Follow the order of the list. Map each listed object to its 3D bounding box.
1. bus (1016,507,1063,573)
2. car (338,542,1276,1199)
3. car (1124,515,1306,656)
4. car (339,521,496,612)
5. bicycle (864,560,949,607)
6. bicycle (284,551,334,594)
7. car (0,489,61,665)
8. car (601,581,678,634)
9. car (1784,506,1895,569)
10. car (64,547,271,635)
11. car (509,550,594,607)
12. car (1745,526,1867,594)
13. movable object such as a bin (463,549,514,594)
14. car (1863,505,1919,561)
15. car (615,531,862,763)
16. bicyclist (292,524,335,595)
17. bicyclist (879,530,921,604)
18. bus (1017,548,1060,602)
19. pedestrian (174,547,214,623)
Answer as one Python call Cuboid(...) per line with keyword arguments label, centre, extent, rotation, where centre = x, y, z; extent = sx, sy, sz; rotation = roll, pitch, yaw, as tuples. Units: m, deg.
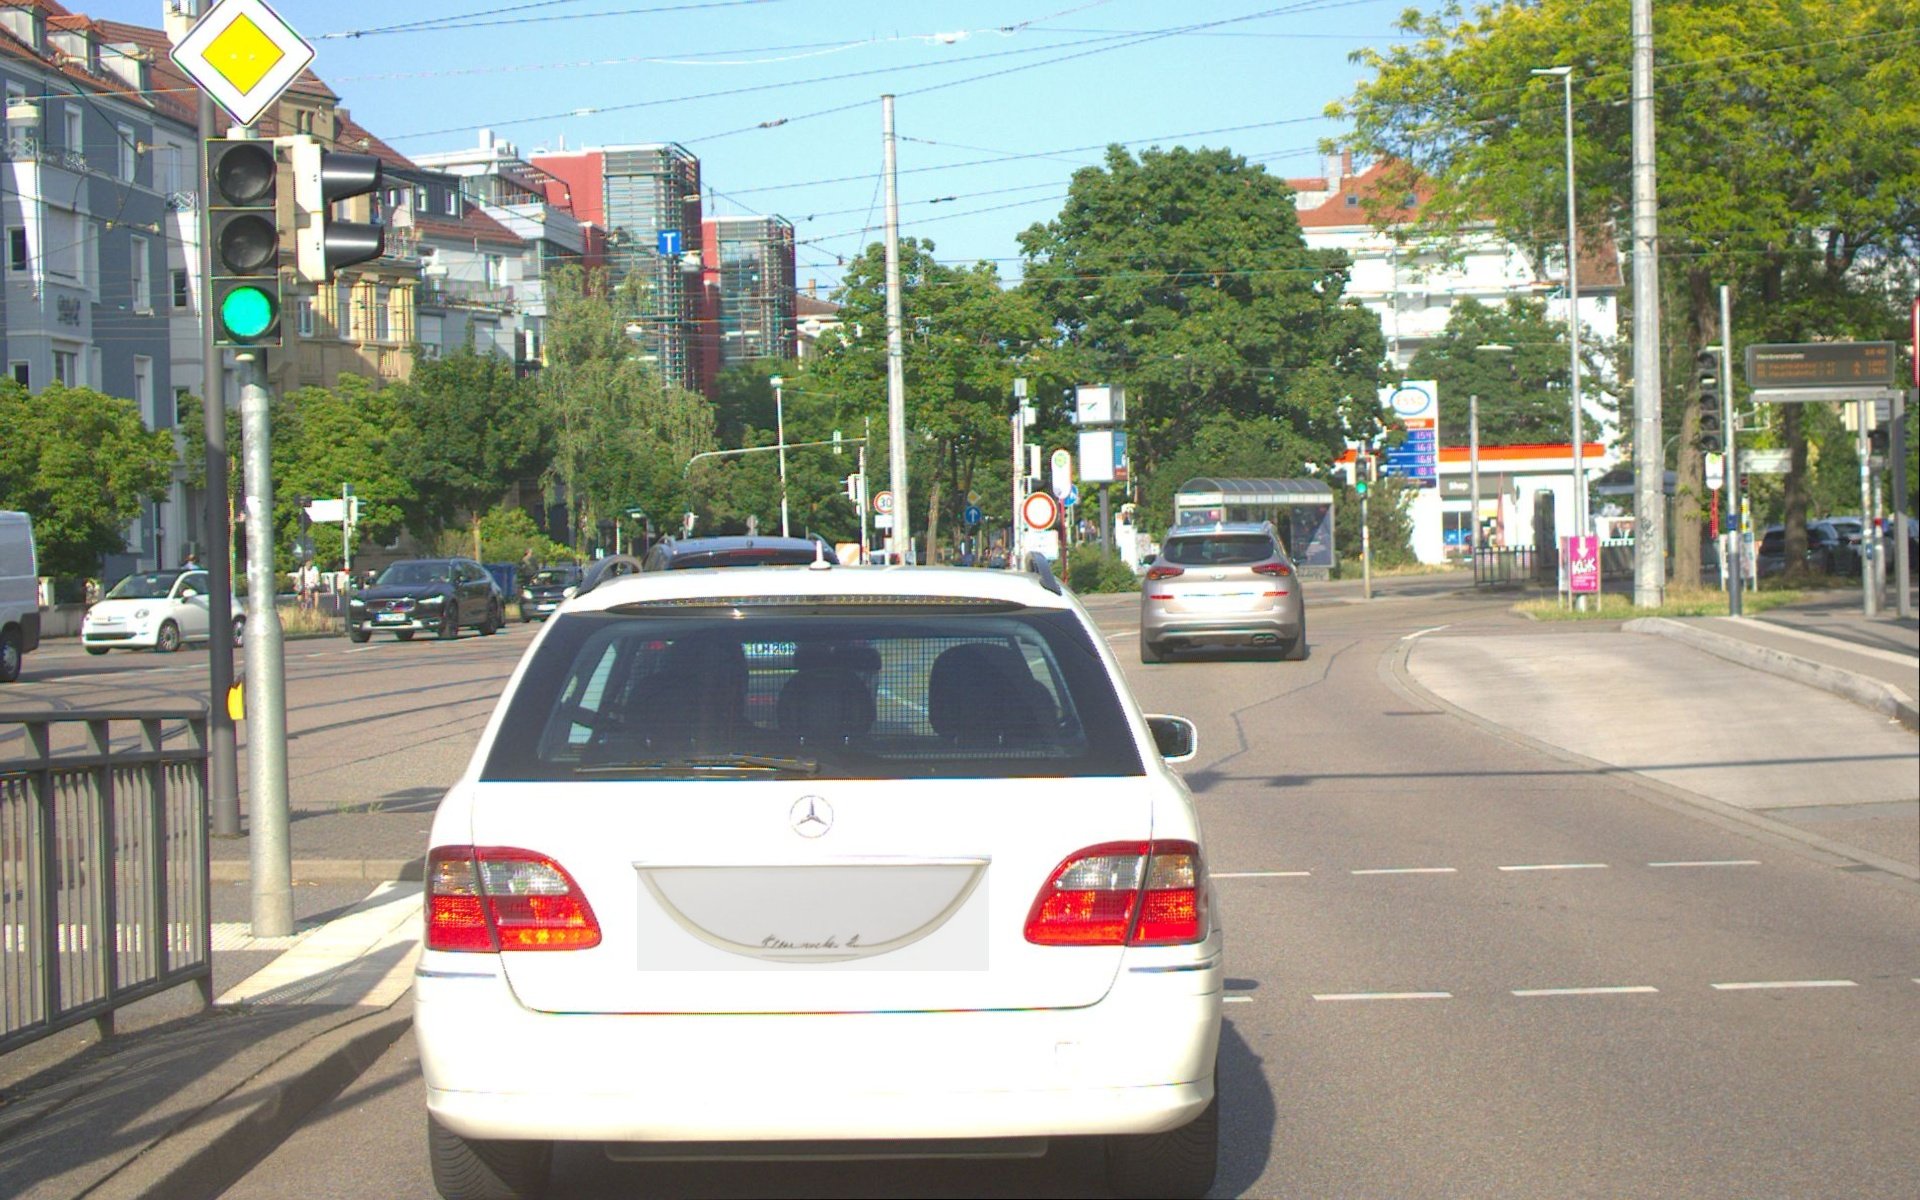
Cuboid(label="bus", centre=(3.152, -2.352, 136.323), extent=(1.798, 2.546, 4.000), rotation=(1, 0, 1))
Cuboid(label="car", centre=(-0.327, 0.610, 8.650), extent=(1.835, 1.496, 3.815), rotation=(0, 1, -1))
Cuboid(label="car", centre=(2.987, -0.194, 40.943), extent=(1.835, 1.595, 3.815), rotation=(0, 1, -1))
Cuboid(label="car", centre=(-10.074, -0.657, 64.205), extent=(1.767, 1.489, 4.744), rotation=(-1, 2, 5))
Cuboid(label="bicycle", centre=(-1.252, -0.395, 80.641), extent=(1.914, 0.991, 0.727), rotation=(-3, 1, 0))
Cuboid(label="bicycle", centre=(-15.471, -0.658, 81.739), extent=(0.769, 0.962, 2.034), rotation=(-2, 1, 1))
Cuboid(label="car", centre=(-13.422, -0.249, 43.083), extent=(2.178, 2.231, 5.251), rotation=(-1, 1, 9))
Cuboid(label="car", centre=(-9.567, 0.206, 102.917), extent=(1.689, 1.436, 4.000), rotation=(-2, 1, 3))
Cuboid(label="car", centre=(23.001, -1.650, 89.853), extent=(1.856, 1.510, 3.994), rotation=(-2, 0, 28))
Cuboid(label="car", centre=(-14.273, -0.176, 62.149), extent=(1.796, 1.452, 3.997), rotation=(-1, 1, 18))
Cuboid(label="car", centre=(-10.897, -0.590, 91.867), extent=(1.634, 1.428, 3.628), rotation=(-1, 1, 3))
Cuboid(label="car", centre=(20.847, -1.003, 84.648), extent=(1.856, 1.510, 3.994), rotation=(-2, 0, 29))
Cuboid(label="movable object such as a bin", centre=(-15.483, -0.944, 112.876), extent=(1.602, 1.416, 1.085), rotation=(-2, 1, -7))
Cuboid(label="car", centre=(27.261, -1.937, 98.257), extent=(1.856, 1.510, 3.994), rotation=(-2, 0, 28))
Cuboid(label="car", centre=(-1.581, 0.300, 25.600), extent=(1.641, 1.595, 3.815), rotation=(0, 1, -1))
Cuboid(label="bicyclist", centre=(-15.460, -0.977, 82.200), extent=(0.760, 1.662, 1.167), rotation=(-1, 1, 0))
Cuboid(label="bicyclist", centre=(-1.402, -0.776, 80.642), extent=(0.899, 1.693, 0.732), rotation=(-3, 1, 1))
Cuboid(label="bus", centre=(3.442, -1.110, 152.102), extent=(1.797, 2.325, 4.000), rotation=(1, 0, 0))
Cuboid(label="pedestrian", centre=(-17.755, -0.348, 79.677), extent=(0.638, 1.745, 0.911), rotation=(-2, 1, 3))
